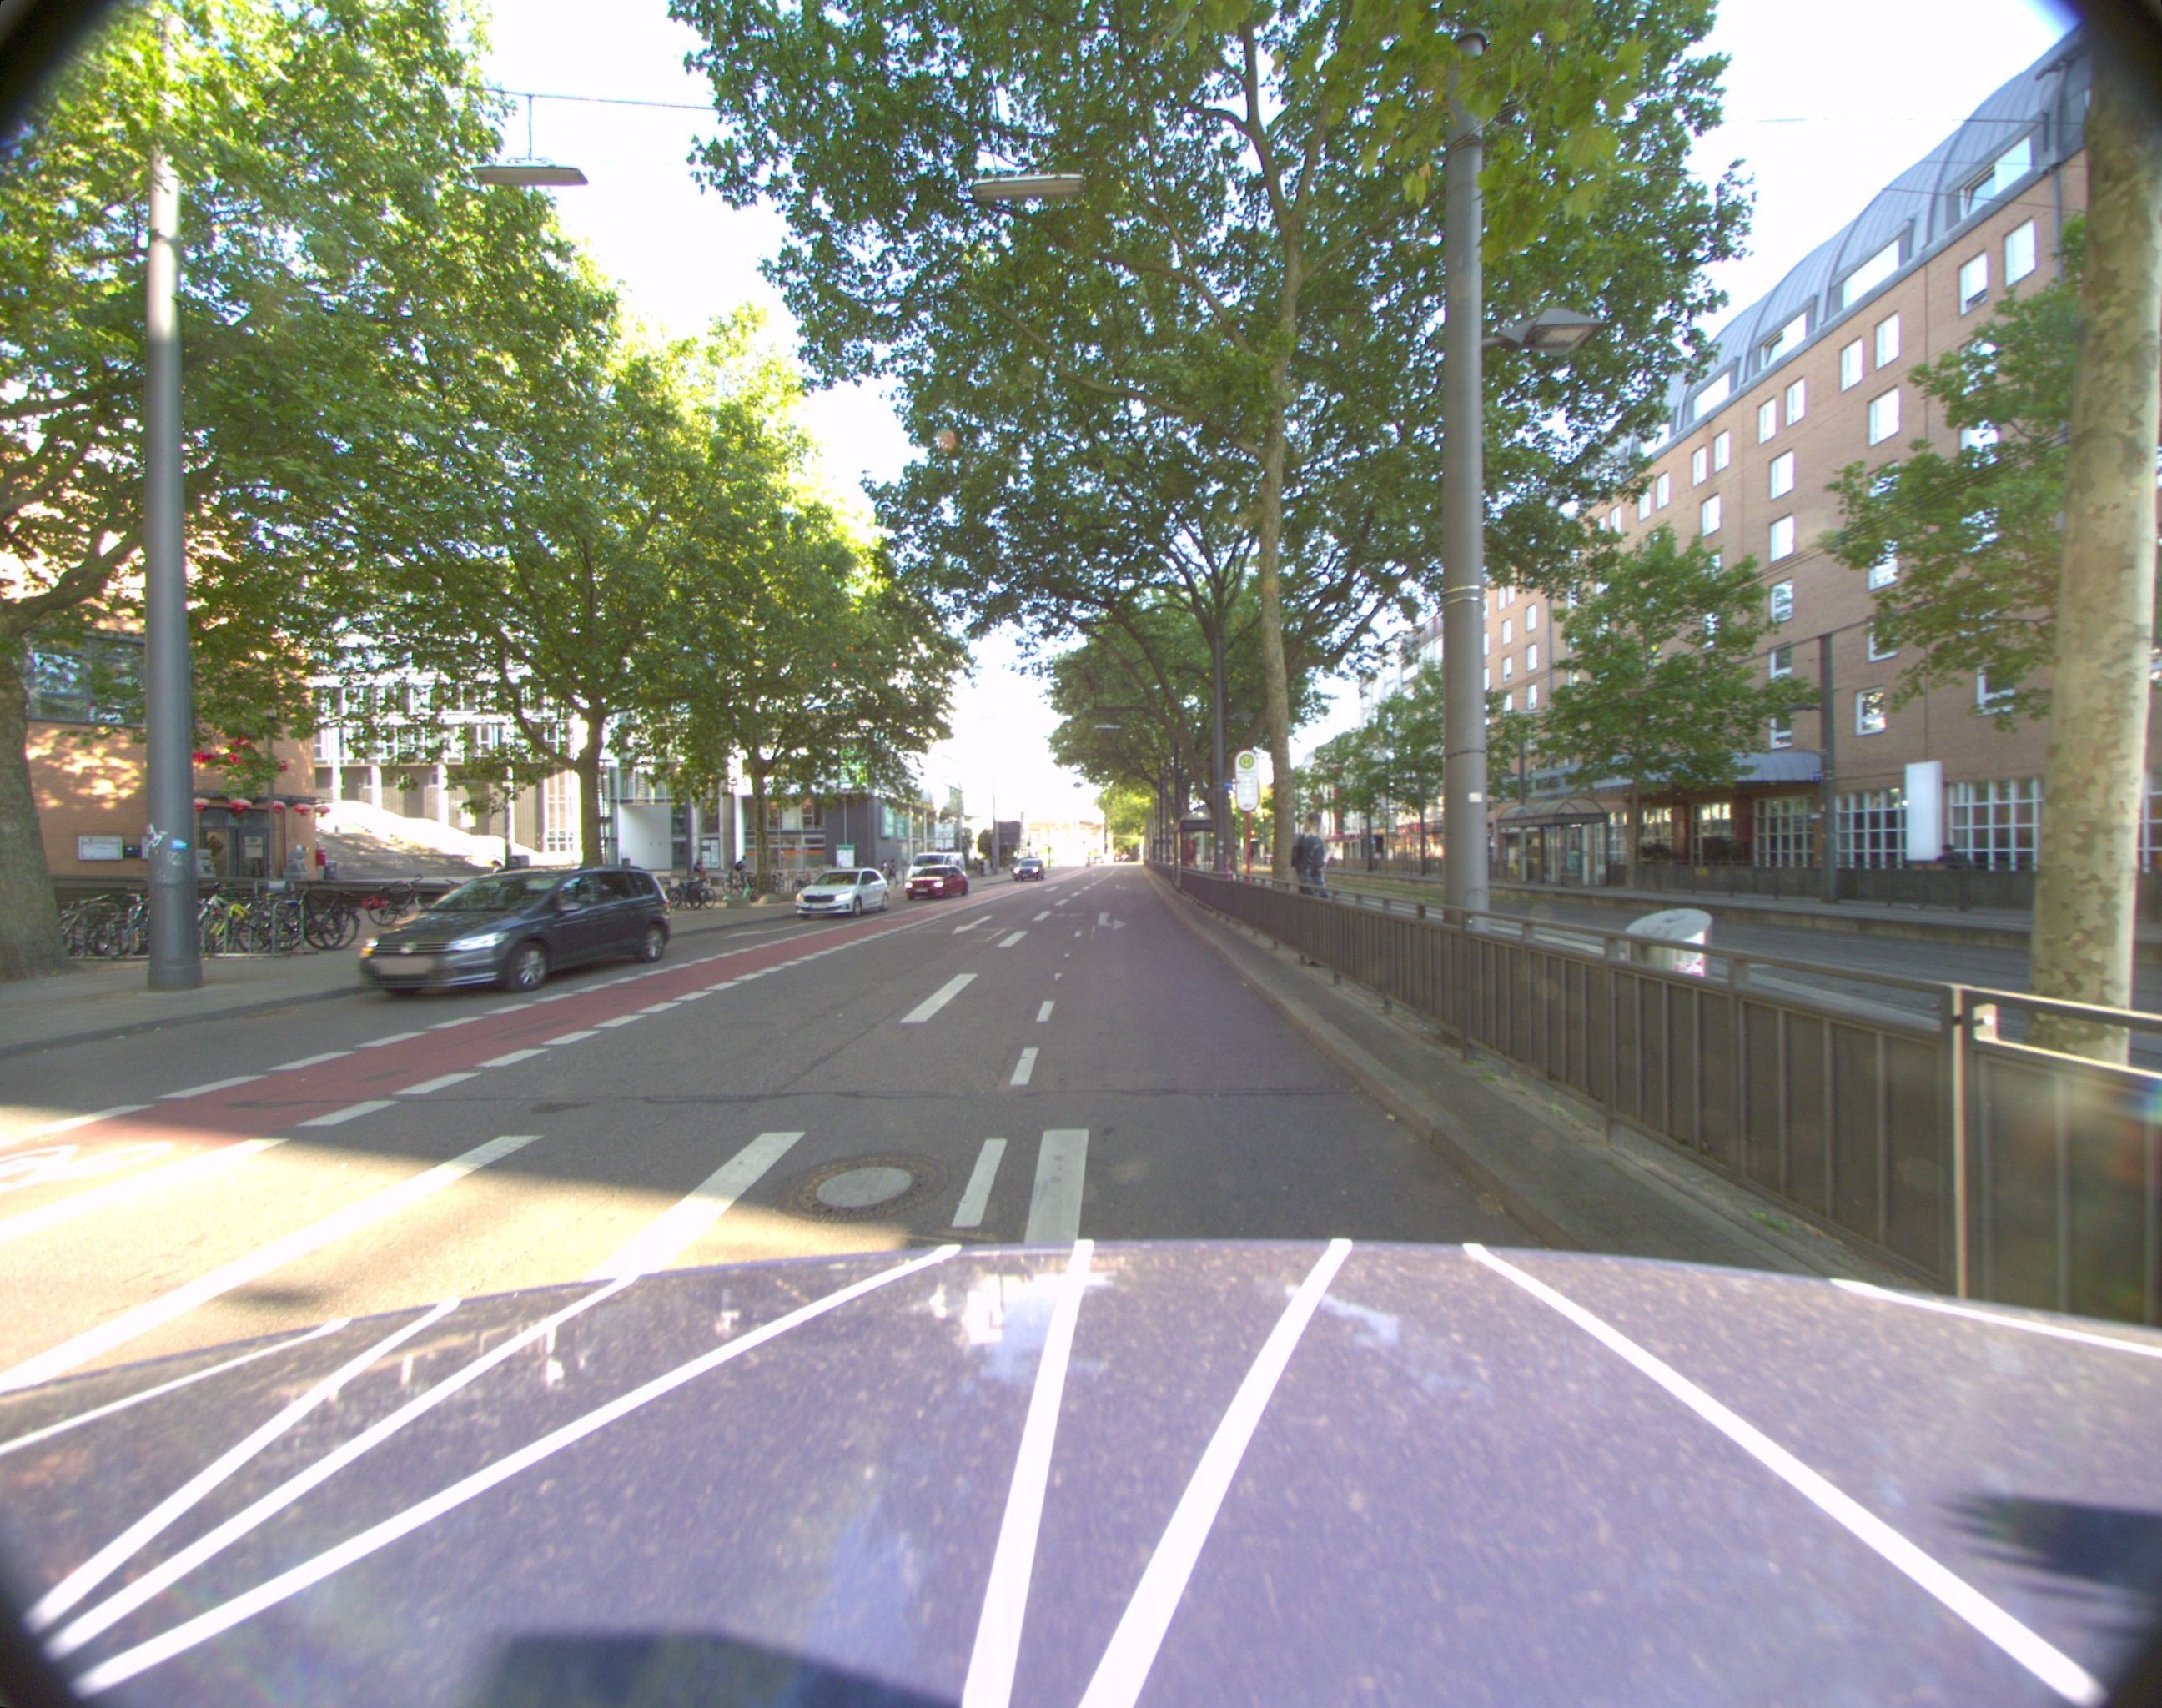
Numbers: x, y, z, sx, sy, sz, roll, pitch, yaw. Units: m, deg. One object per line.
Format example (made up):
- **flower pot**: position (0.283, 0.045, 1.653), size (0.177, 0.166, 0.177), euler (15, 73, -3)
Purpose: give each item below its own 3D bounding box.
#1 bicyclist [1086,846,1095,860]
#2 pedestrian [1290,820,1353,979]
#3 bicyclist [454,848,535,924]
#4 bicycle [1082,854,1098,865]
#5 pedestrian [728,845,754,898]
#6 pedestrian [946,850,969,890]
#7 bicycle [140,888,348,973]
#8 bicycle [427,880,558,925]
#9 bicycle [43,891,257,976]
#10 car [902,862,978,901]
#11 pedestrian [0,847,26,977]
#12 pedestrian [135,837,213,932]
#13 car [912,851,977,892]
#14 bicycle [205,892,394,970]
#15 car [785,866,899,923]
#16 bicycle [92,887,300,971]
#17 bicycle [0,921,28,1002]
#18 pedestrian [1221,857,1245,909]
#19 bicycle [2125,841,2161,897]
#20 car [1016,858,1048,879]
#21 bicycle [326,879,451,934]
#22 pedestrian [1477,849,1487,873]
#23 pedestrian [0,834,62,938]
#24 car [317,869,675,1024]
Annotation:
- **bicyclist**: position (1.396, -0.093, 112.220), size (0.957, 2.002, 0.940), euler (-1, 1, 33)
- **pedestrian**: position (2.838, 0.525, 9.009), size (0.543, 1.823, 0.524), euler (-2, 1, 5)
- **bicyclist**: position (-16.177, 0.858, 20.985), size (1.296, 2.002, 1.158), euler (-1, 1, 17)
- **bicycle**: position (1.344, 0.803, 112.080), size (0.948, 1.460, 2.711), euler (0, 0, 34)
- **pedestrian**: position (-17.302, 0.869, 38.670), size (0.981, 2.633, 0.900), euler (-3, 1, -31)
- **pedestrian**: position (-6.294, 0.820, 38.721), size (0.815, 2.001, 0.979), euler (-2, 0, 10)
- **bicycle**: position (-14.049, 1.237, 12.898), size (0.751, 1.155, 2.398), euler (-2, 1, 2)
- **bicycle**: position (-16.261, 1.304, 21.004), size (3.328, 1.077, 1.150), euler (0, 1, 18)
- **bicycle**: position (-15.569, 1.275, 12.840), size (0.657, 1.155, 2.293), euler (-2, 1, 3)
- **car**: position (-6.083, 1.153, 33.356), size (1.834, 1.481, 4.198), euler (-3, 0, 10)
- **pedestrian**: position (-17.076, 0.896, 11.450), size (0.934, 2.002, 1.091), euler (-1, 1, -25)
- **pedestrian**: position (-21.898, 0.714, 18.360), size (0.842, 2.220, 0.905), euler (-2, 1, 22)
- **car**: position (-7.088, 0.860, 40.126), size (1.932, 1.953, 5.920), euler (-2, 0, 4)
- **bicycle**: position (-13.110, 1.251, 12.887), size (0.682, 1.054, 2.337), euler (-1, 1, 2)
- **car**: position (-7.302, 1.194, 23.688), size (1.835, 1.481, 4.197), euler (-2, 0, 6)
- **bicycle**: position (-14.836, 1.211, 12.871), size (0.671, 1.155, 2.305), euler (-2, 1, 3)
- **bicycle**: position (-13.392, 1.322, 7.982), size (0.925, 0.943, 2.637), euler (-2, 1, 1)
- **pedestrian**: position (3.934, 0.750, 19.629), size (0.542, 1.310, 0.524), euler (-2, 1, 12)
- **bicycle**: position (22.206, 0.286, 14.802), size (0.687, 1.135, 2.110), euler (0, -2, -6)
- **car**: position (-3.715, 1.095, 58.370), size (1.784, 1.481, 4.197), euler (-3, 0, 5)
- **bicycle**: position (-17.841, 1.305, 19.702), size (0.699, 1.193, 2.700), euler (-2, 1, 1)
- **pedestrian**: position (29.470, 0.509, 55.835), size (0.504, 1.725, 0.574), euler (-1, 1, 3)
- **pedestrian**: position (-23.584, 0.698, 16.763), size (1.048, 2.235, 1.221), euler (-1, 1, 38)
- **car**: position (-7.875, 1.109, 10.908), size (1.710, 1.626, 4.390), euler (-2, 0, 0)
